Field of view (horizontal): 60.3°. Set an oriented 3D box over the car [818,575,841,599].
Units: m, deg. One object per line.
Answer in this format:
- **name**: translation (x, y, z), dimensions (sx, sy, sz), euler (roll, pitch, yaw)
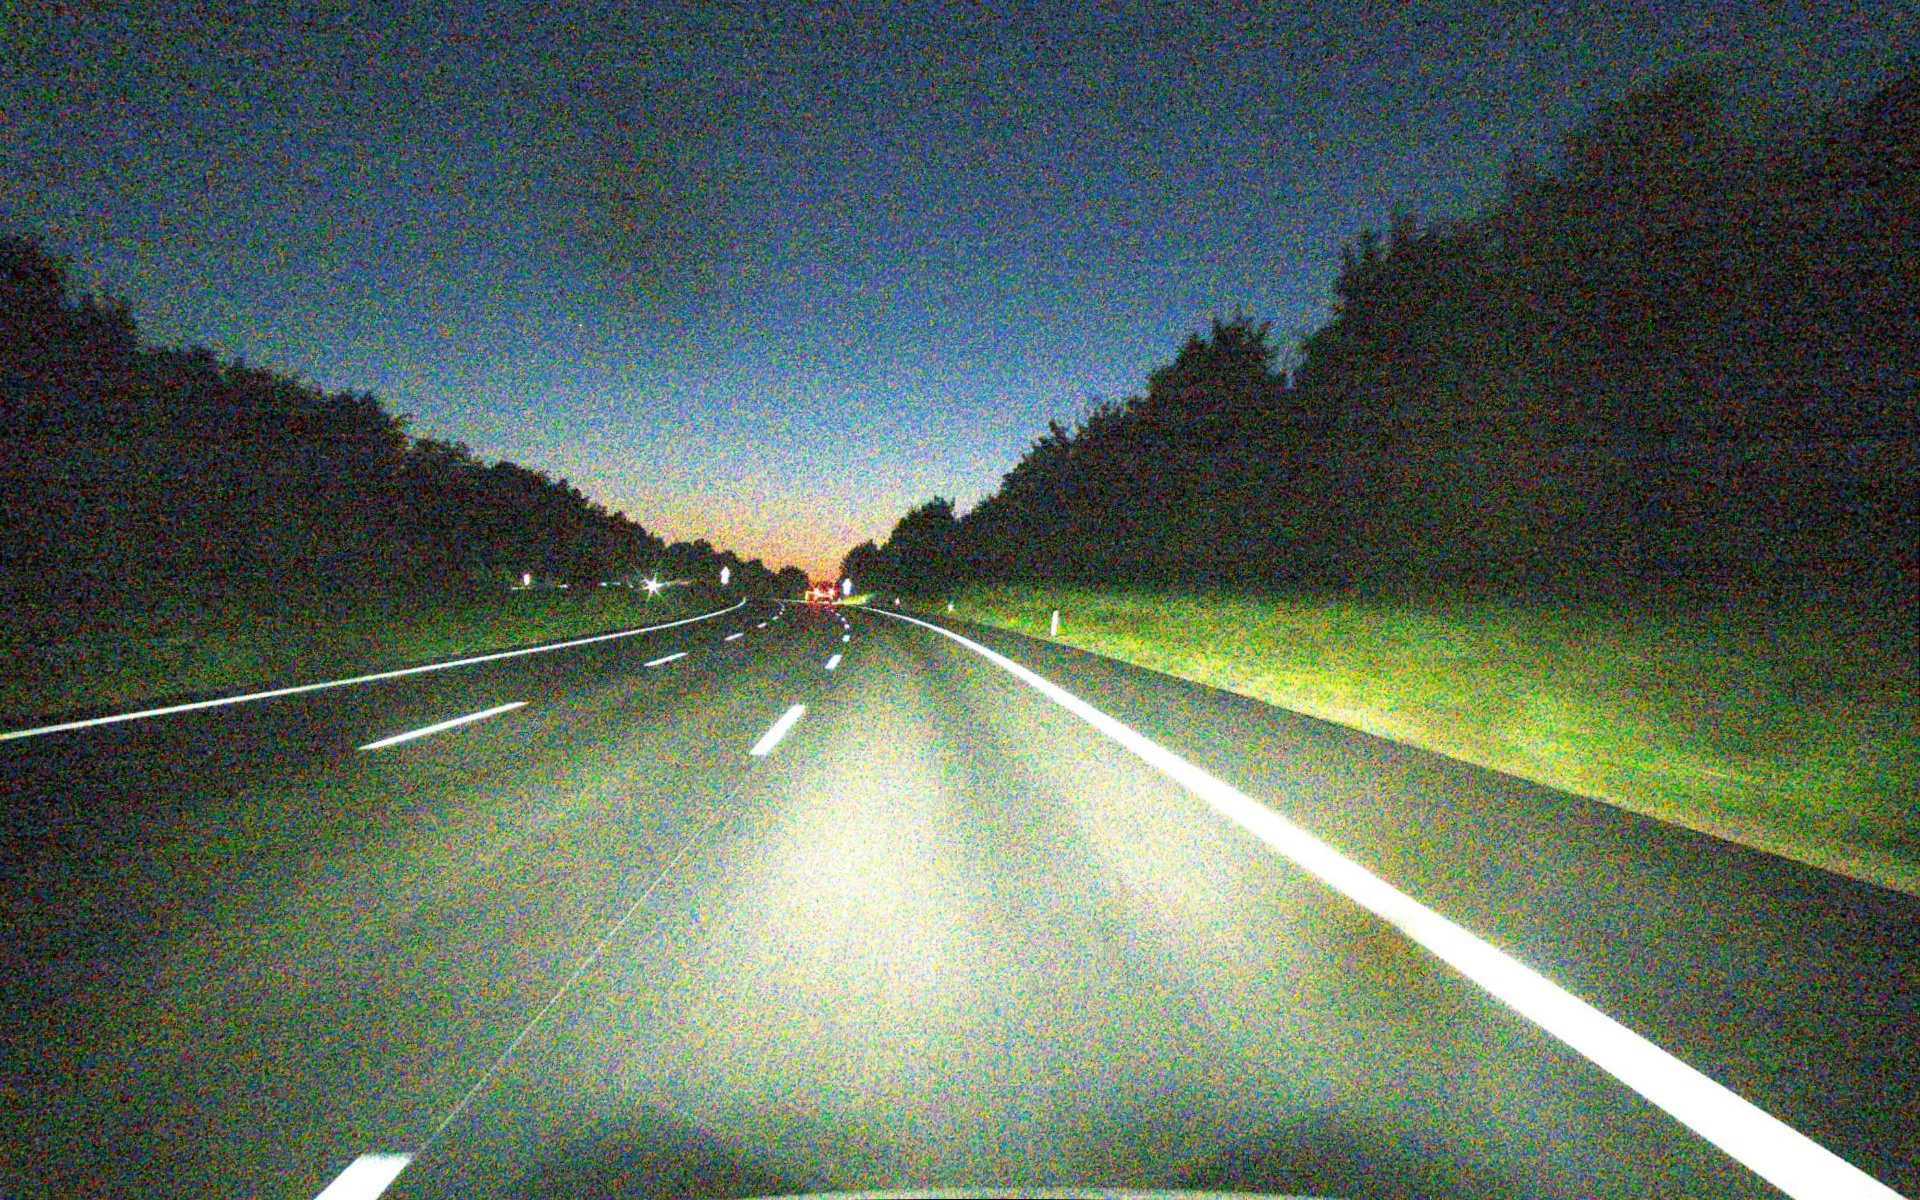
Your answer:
- **car**: translation (-15.416, -1.542, 194.509), dimensions (2.479, 2.597, 6.044), euler (3, 0, -5)
